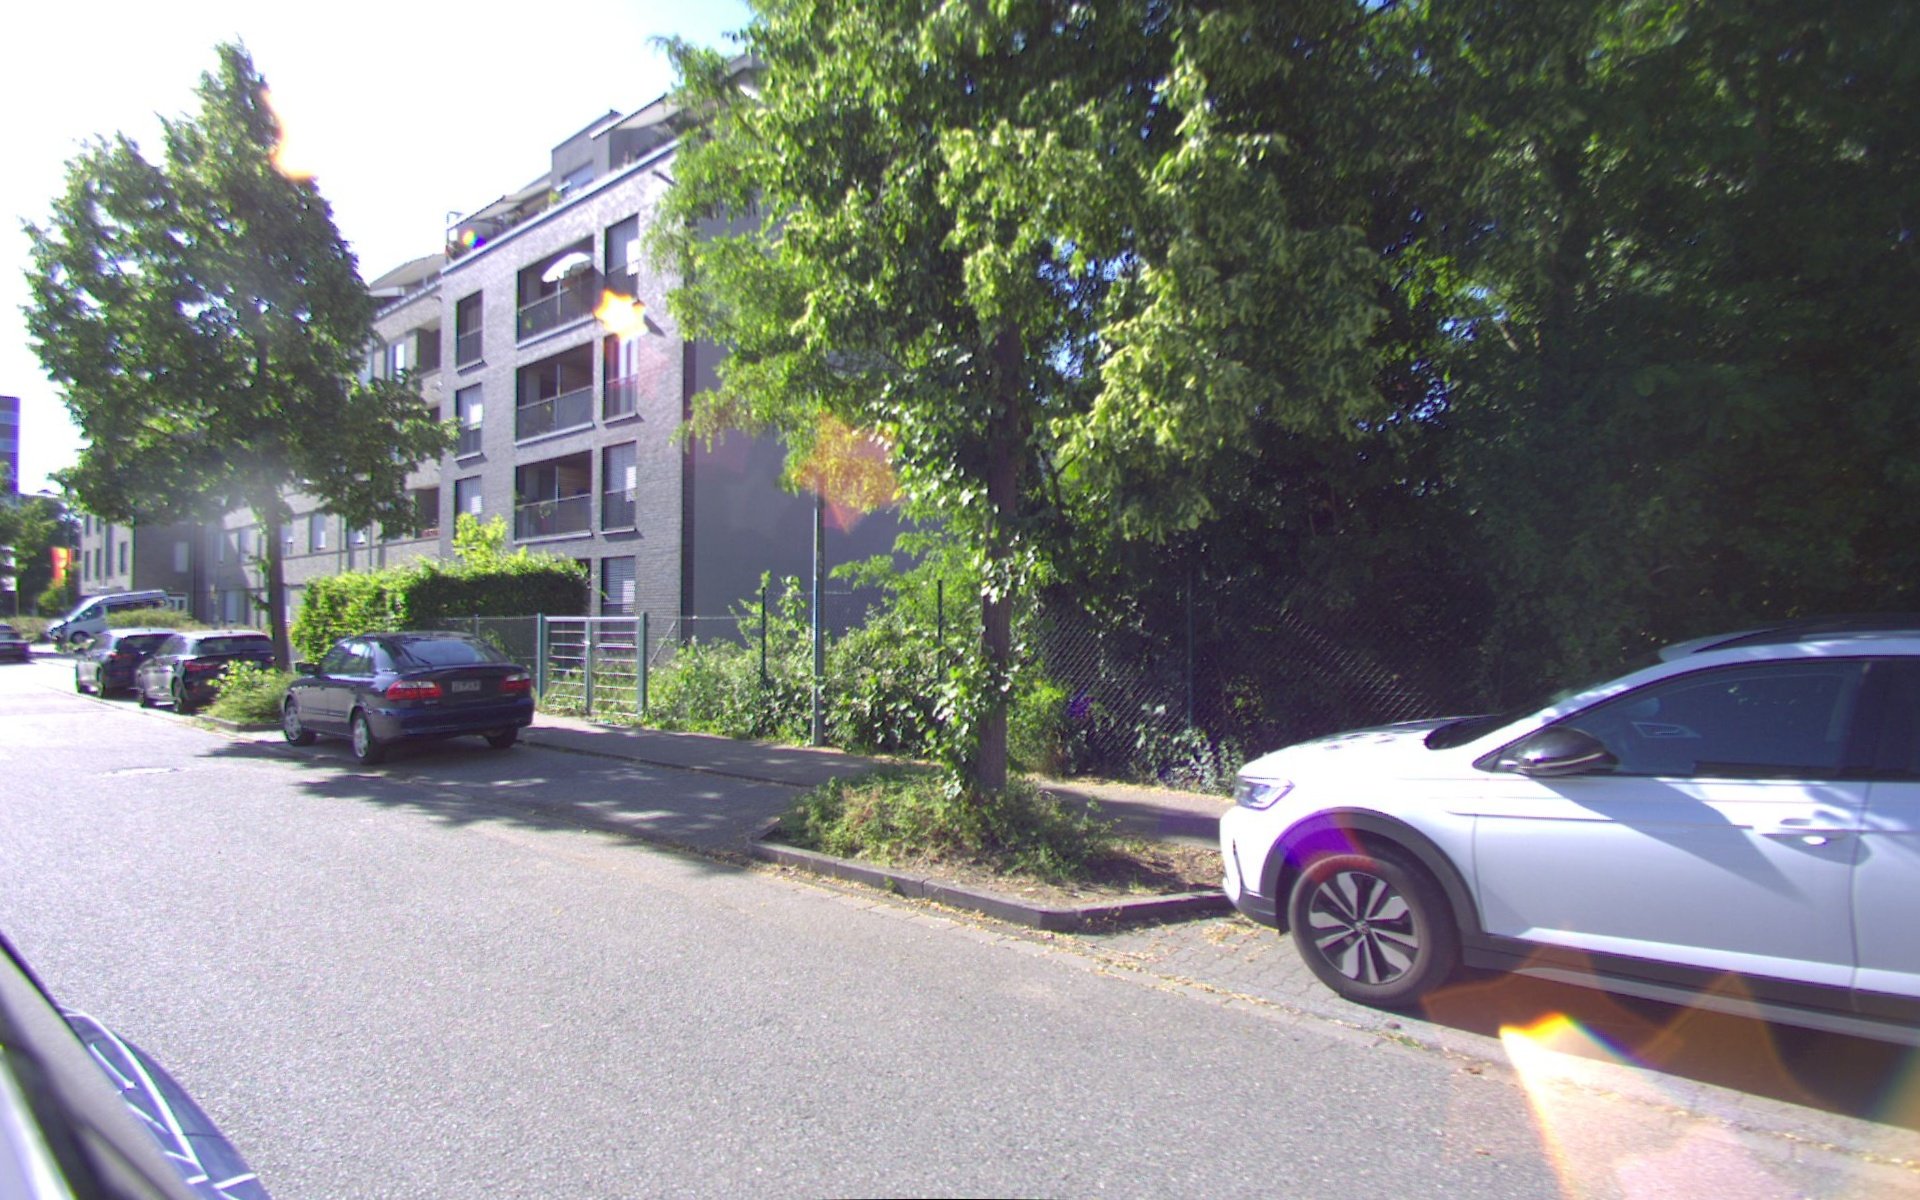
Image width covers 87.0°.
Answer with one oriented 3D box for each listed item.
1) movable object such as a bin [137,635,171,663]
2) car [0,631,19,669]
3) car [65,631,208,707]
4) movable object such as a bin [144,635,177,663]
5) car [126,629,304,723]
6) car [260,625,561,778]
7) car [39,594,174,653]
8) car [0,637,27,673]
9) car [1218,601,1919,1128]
[{"bbox_3d":[-32.284,1.965,40.531,0.680,1.045,0.910,-1,1,38],"label":"movable object such as a bin"},{"bbox_3d":[-40.485,2.066,42.025,3.560,1.536,1.610,-1,-3,40],"label":"car"},{"bbox_3d":[-18.717,1.480,22.942,4.097,1.485,1.821,-1,0,41],"label":"car"},{"bbox_3d":[-31.631,1.946,40.042,0.677,1.045,0.852,-1,1,38],"label":"movable object such as a bin"},{"bbox_3d":[-13.955,1.328,18.880,4.025,1.485,1.821,-1,0,41],"label":"car"},{"bbox_3d":[-6.853,1.085,12.416,4.357,1.485,1.821,-1,0,41],"label":"car"},{"bbox_3d":[-45.014,1.251,53.466,2.011,2.924,5.091,-1,-2,37],"label":"car"},{"bbox_3d":[-36.519,2.062,38.180,3.561,1.257,1.610,-1,0,42],"label":"car"},{"bbox_3d":[3.215,0.766,3.720,4.000,1.485,1.821,-1,0,41],"label":"car"}]
